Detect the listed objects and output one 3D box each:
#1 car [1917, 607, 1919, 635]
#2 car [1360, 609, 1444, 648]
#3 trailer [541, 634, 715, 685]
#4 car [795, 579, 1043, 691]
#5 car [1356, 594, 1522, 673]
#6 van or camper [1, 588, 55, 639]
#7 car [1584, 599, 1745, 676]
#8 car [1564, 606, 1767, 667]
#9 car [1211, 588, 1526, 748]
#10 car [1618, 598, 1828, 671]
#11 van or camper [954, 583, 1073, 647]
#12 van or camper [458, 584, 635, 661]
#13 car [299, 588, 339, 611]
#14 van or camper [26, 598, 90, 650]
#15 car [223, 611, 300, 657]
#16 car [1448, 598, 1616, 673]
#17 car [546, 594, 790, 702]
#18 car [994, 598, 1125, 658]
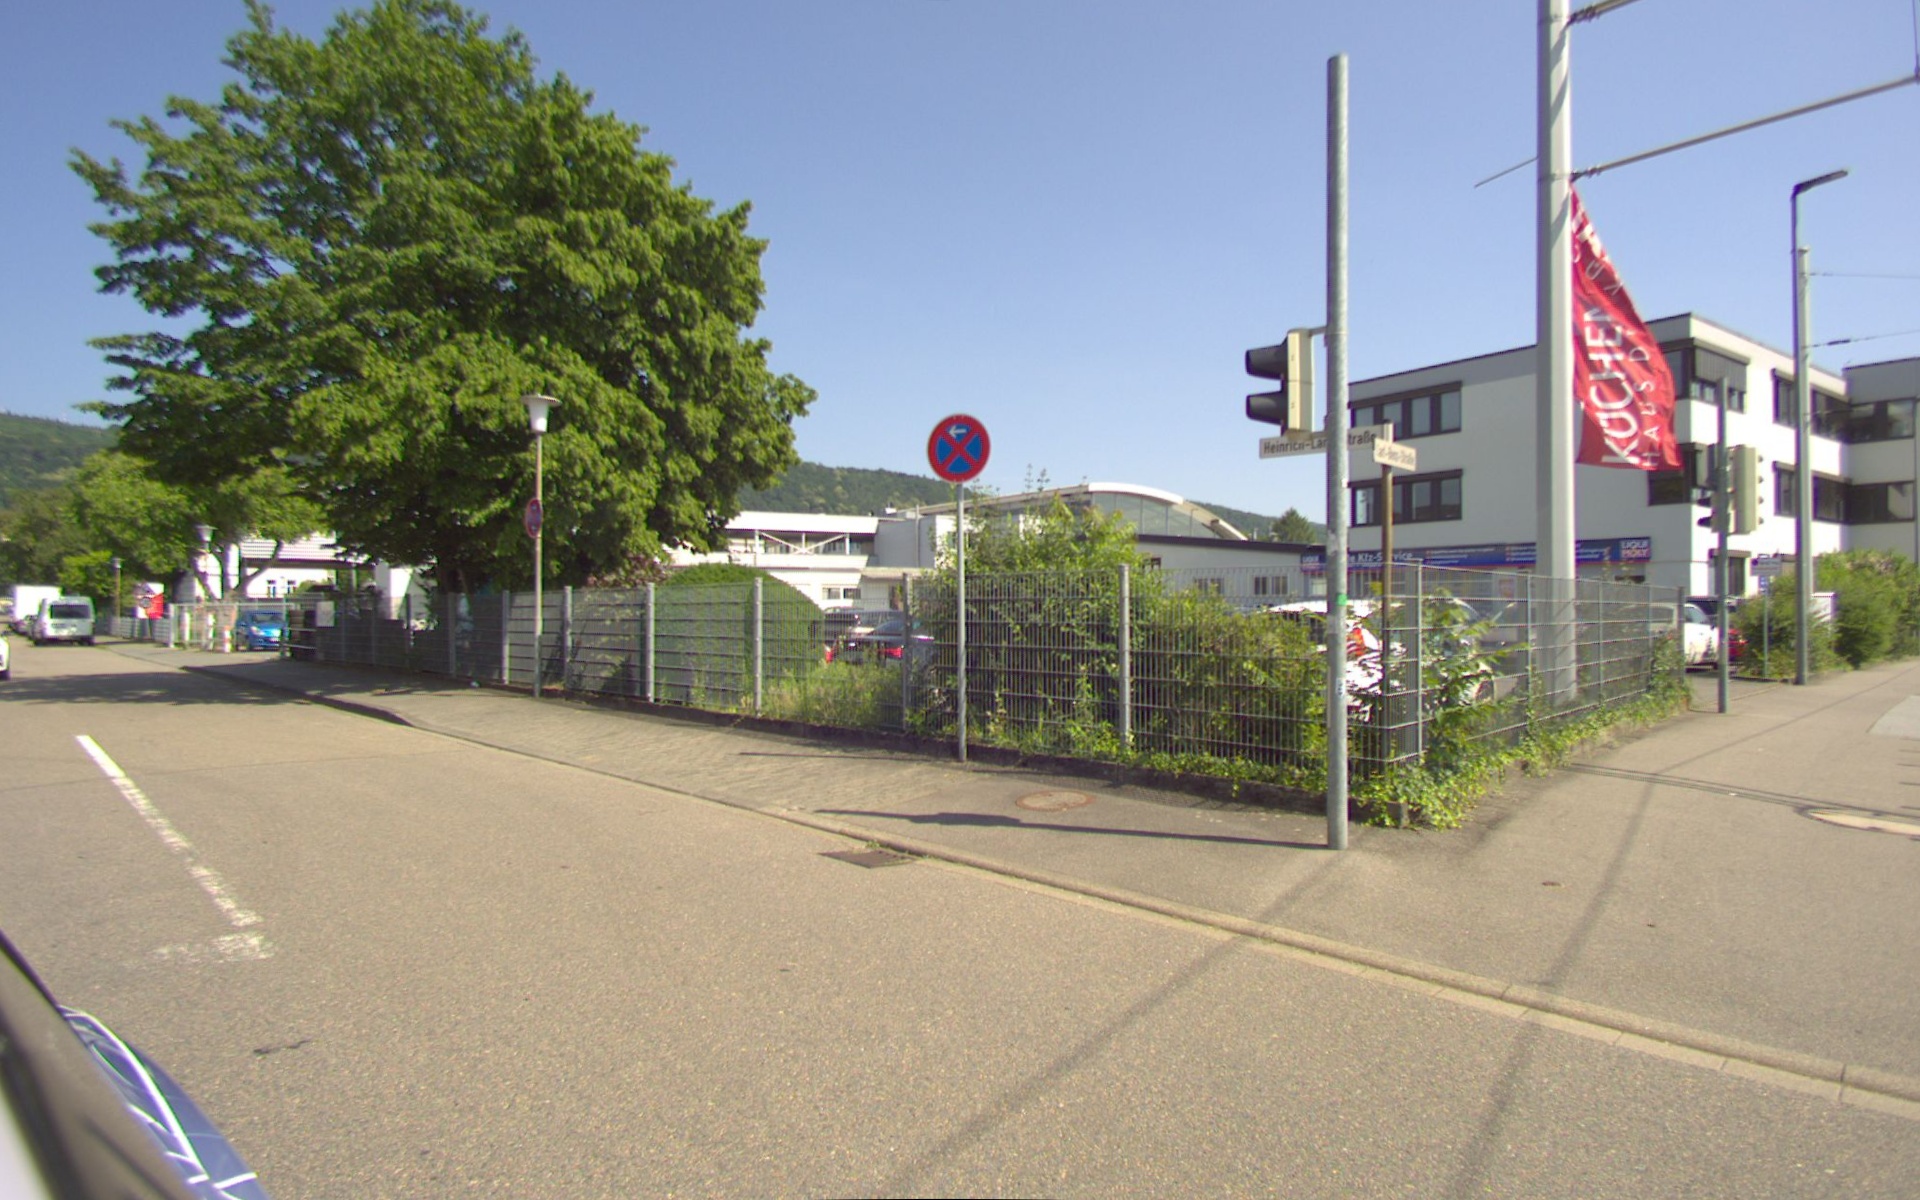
[{"bbox_3d":[55.632,1.150,55.739,1.968,1.530,4.008,-2,2,-38],"label":"car"},{"bbox_3d":[16.961,1.067,38.817,3.078,1.437,1.426,0,-1,-30],"label":"car"},{"bbox_3d":[-7.217,1.260,22.139,3.243,0.946,1.614,1,-1,-43],"label":"trailer"},{"bbox_3d":[-0.559,0.517,16.135,1.856,1.553,3.783,-1,-1,42],"label":"car"},{"bbox_3d":[11.939,0.798,25.178,3.933,1.798,2.005,0,-1,-34],"label":"car"},{"bbox_3d":[-65.109,0.944,70.660,5.594,3.396,2.490,-1,-1,45],"label":"van or camper"},{"bbox_3d":[15.488,0.771,22.204,3.773,1.553,1.745,1,-1,-36],"label":"car"},{"bbox_3d":[17.540,0.858,25.287,1.720,1.381,3.843,1,-1,-39],"label":"car"},{"bbox_3d":[4.575,0.643,11.065,3.895,1.444,1.715,2,-1,-43],"label":"car"},{"bbox_3d":[19.713,0.850,26.271,1.968,1.719,4.007,1,-1,-40],"label":"car"},{"bbox_3d":[2.112,0.560,38.885,4.528,2.323,1.785,0,0,-39],"label":"van or camper"},{"bbox_3d":[-11.378,0.548,28.026,4.133,1.877,1.776,-3,2,-43],"label":"van or camper"},{"bbox_3d":[-41.334,-0.016,65.317,1.680,1.469,3.537,0,-1,-25],"label":"car"},{"bbox_3d":[-43.677,1.133,48.969,4.688,2.395,2.000,0,-2,45],"label":"van or camper"},{"bbox_3d":[-25.188,1.188,36.457,3.526,1.469,1.622,0,2,44],"label":"car"},{"bbox_3d":[13.227,0.776,23.349,3.869,1.580,1.861,0,-1,-35],"label":"car"},{"bbox_3d":[-4.482,0.690,15.779,3.338,1.496,1.519,1,-1,-43],"label":"car"},{"bbox_3d":[3.625,0.976,36.656,4.505,2.029,2.063,1,-1,-36],"label":"car"}]
